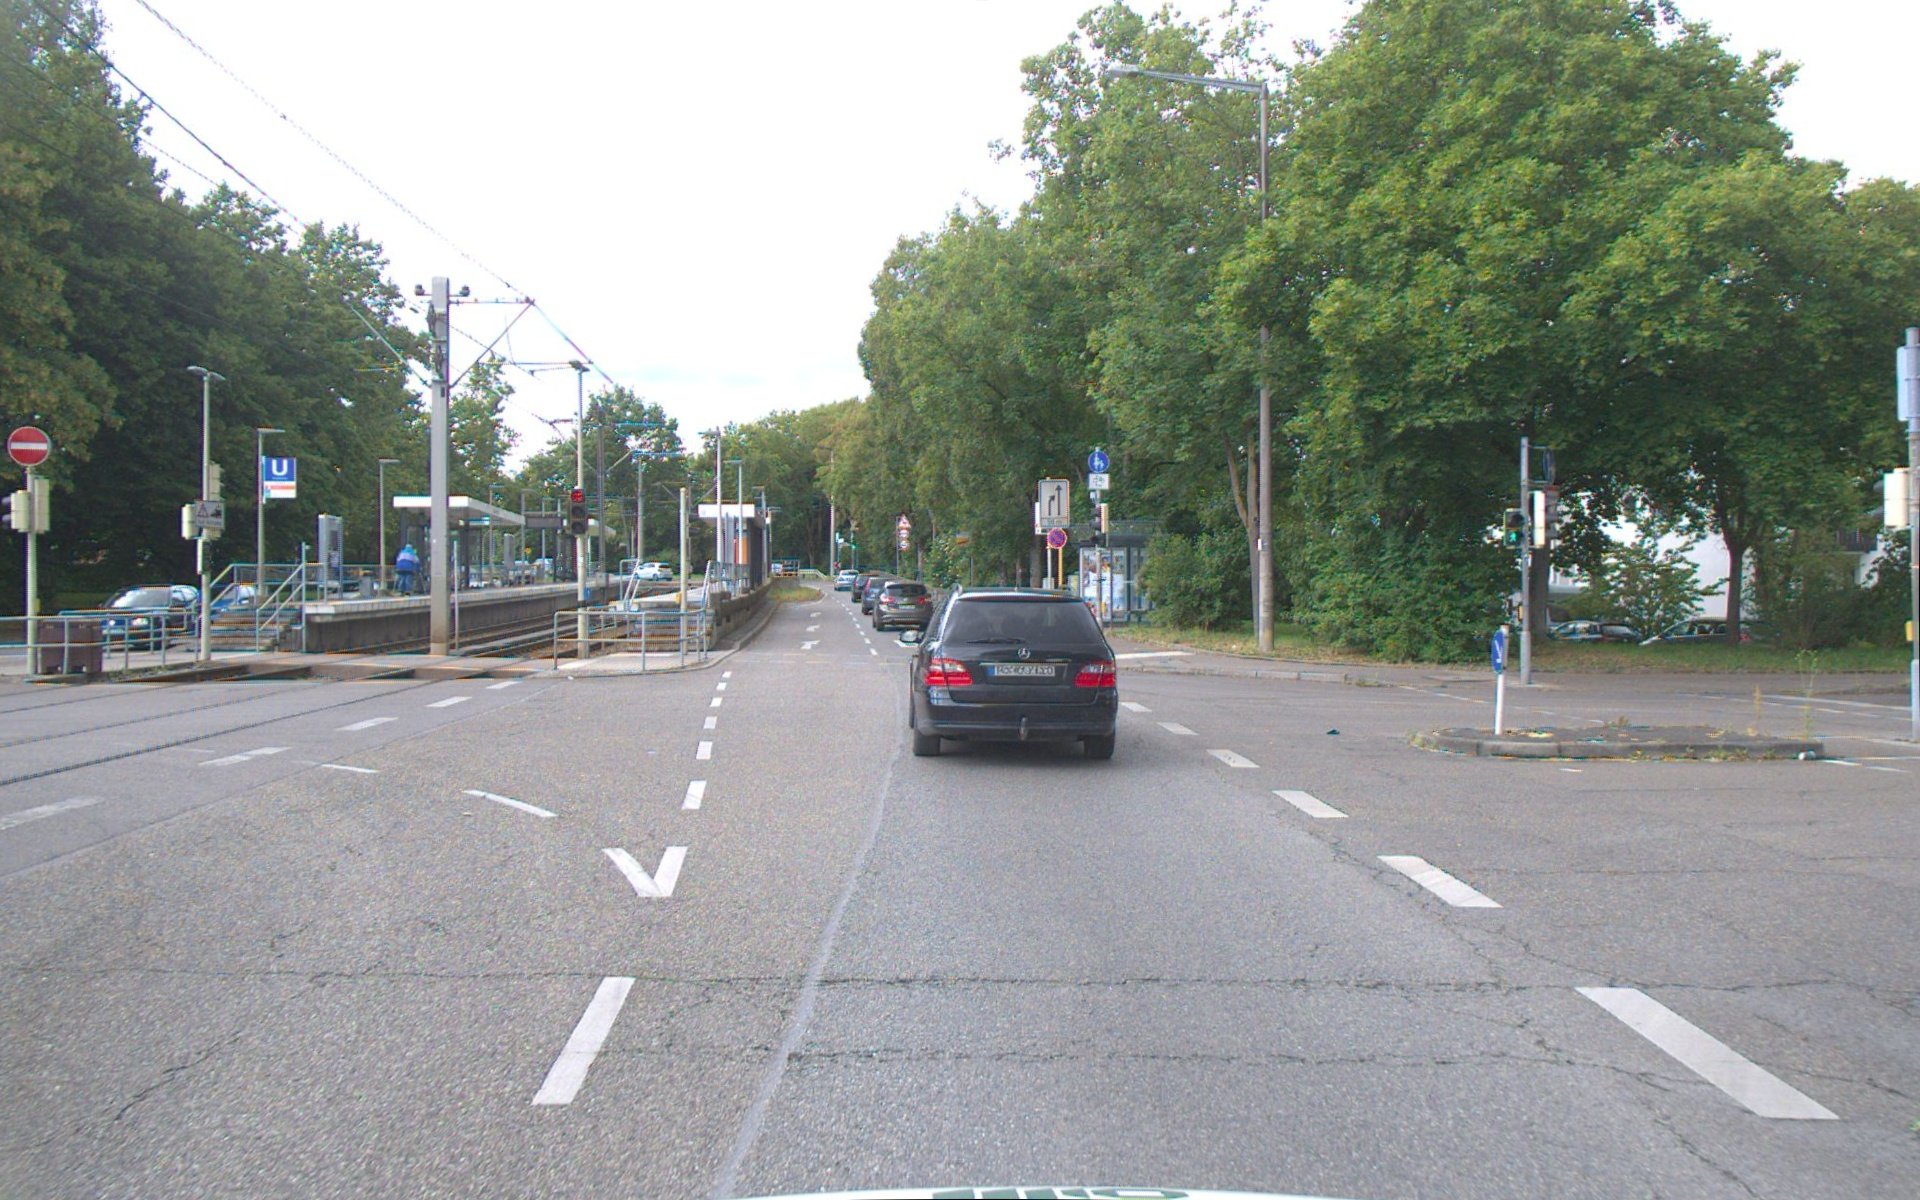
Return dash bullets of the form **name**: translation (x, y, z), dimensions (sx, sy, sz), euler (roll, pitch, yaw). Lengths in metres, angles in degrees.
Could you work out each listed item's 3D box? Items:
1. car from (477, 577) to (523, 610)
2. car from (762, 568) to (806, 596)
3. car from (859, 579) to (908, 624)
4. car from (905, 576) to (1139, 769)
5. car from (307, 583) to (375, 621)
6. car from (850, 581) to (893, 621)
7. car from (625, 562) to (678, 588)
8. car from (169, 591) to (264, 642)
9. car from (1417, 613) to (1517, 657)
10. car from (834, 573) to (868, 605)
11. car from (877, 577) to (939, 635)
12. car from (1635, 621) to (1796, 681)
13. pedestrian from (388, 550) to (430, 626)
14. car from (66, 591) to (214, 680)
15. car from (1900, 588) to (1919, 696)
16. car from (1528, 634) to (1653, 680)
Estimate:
- **car**: translation (-26.090, -0.357, 93.954), dimensions (1.677, 1.782, 4.395), euler (-2, 0, -5)
- **car**: translation (-13.136, -1.317, 123.295), dimensions (1.970, 2.001, 3.964), euler (2, -1, -28)
- **car**: translation (-3.089, 0.062, 66.167), dimensions (1.747, 1.677, 3.996), euler (2, -1, -5)
- **car**: translation (0.440, 0.577, 15.383), dimensions (1.747, 1.552, 3.997), euler (1, 0, -4)
- **car**: translation (-25.949, 0.092, 69.495), dimensions (1.653, 1.471, 3.995), euler (-3, 0, -6)
- **car**: translation (-4.502, 0.065, 83.514), dimensions (1.955, 1.952, 3.995), euler (2, -1, -6)
- **car**: translation (-25.273, -2.052, 135.659), dimensions (3.915, 2.049, 1.995), euler (1, -1, 32)
- **car**: translation (-23.042, 0.501, 51.407), dimensions (1.565, 1.471, 4.046), euler (-2, 0, -8)
- **car**: translation (17.363, 1.187, 56.811), dimensions (1.454, 1.410, 3.824), euler (2, -1, -15)
- **car**: translation (-6.912, -0.659, 104.548), dimensions (1.955, 1.926, 3.995), euler (2, -1, -6)
- **car**: translation (-1.580, 0.188, 51.556), dimensions (1.745, 1.677, 4.000), euler (2, -1, 0)
- **car**: translation (20.603, 1.357, 45.297), dimensions (1.633, 1.487, 4.271), euler (2, -1, -16)
- **pedestrian**: translation (-16.250, -0.346, 48.778), dimensions (0.950, 2.224, 0.975), euler (0, 0, -4)
- **car**: translation (-18.688, 0.787, 37.875), dimensions (1.664, 1.893, 3.995), euler (2, -1, -6)
- **car**: translation (15.823, 0.577, 23.363), dimensions (4.065, 1.553, 1.705), euler (-1, -1, 3)
- **car**: translation (19.315, 1.719, 50.826), dimensions (1.595, 1.268, 3.841), euler (2, -1, -16)
